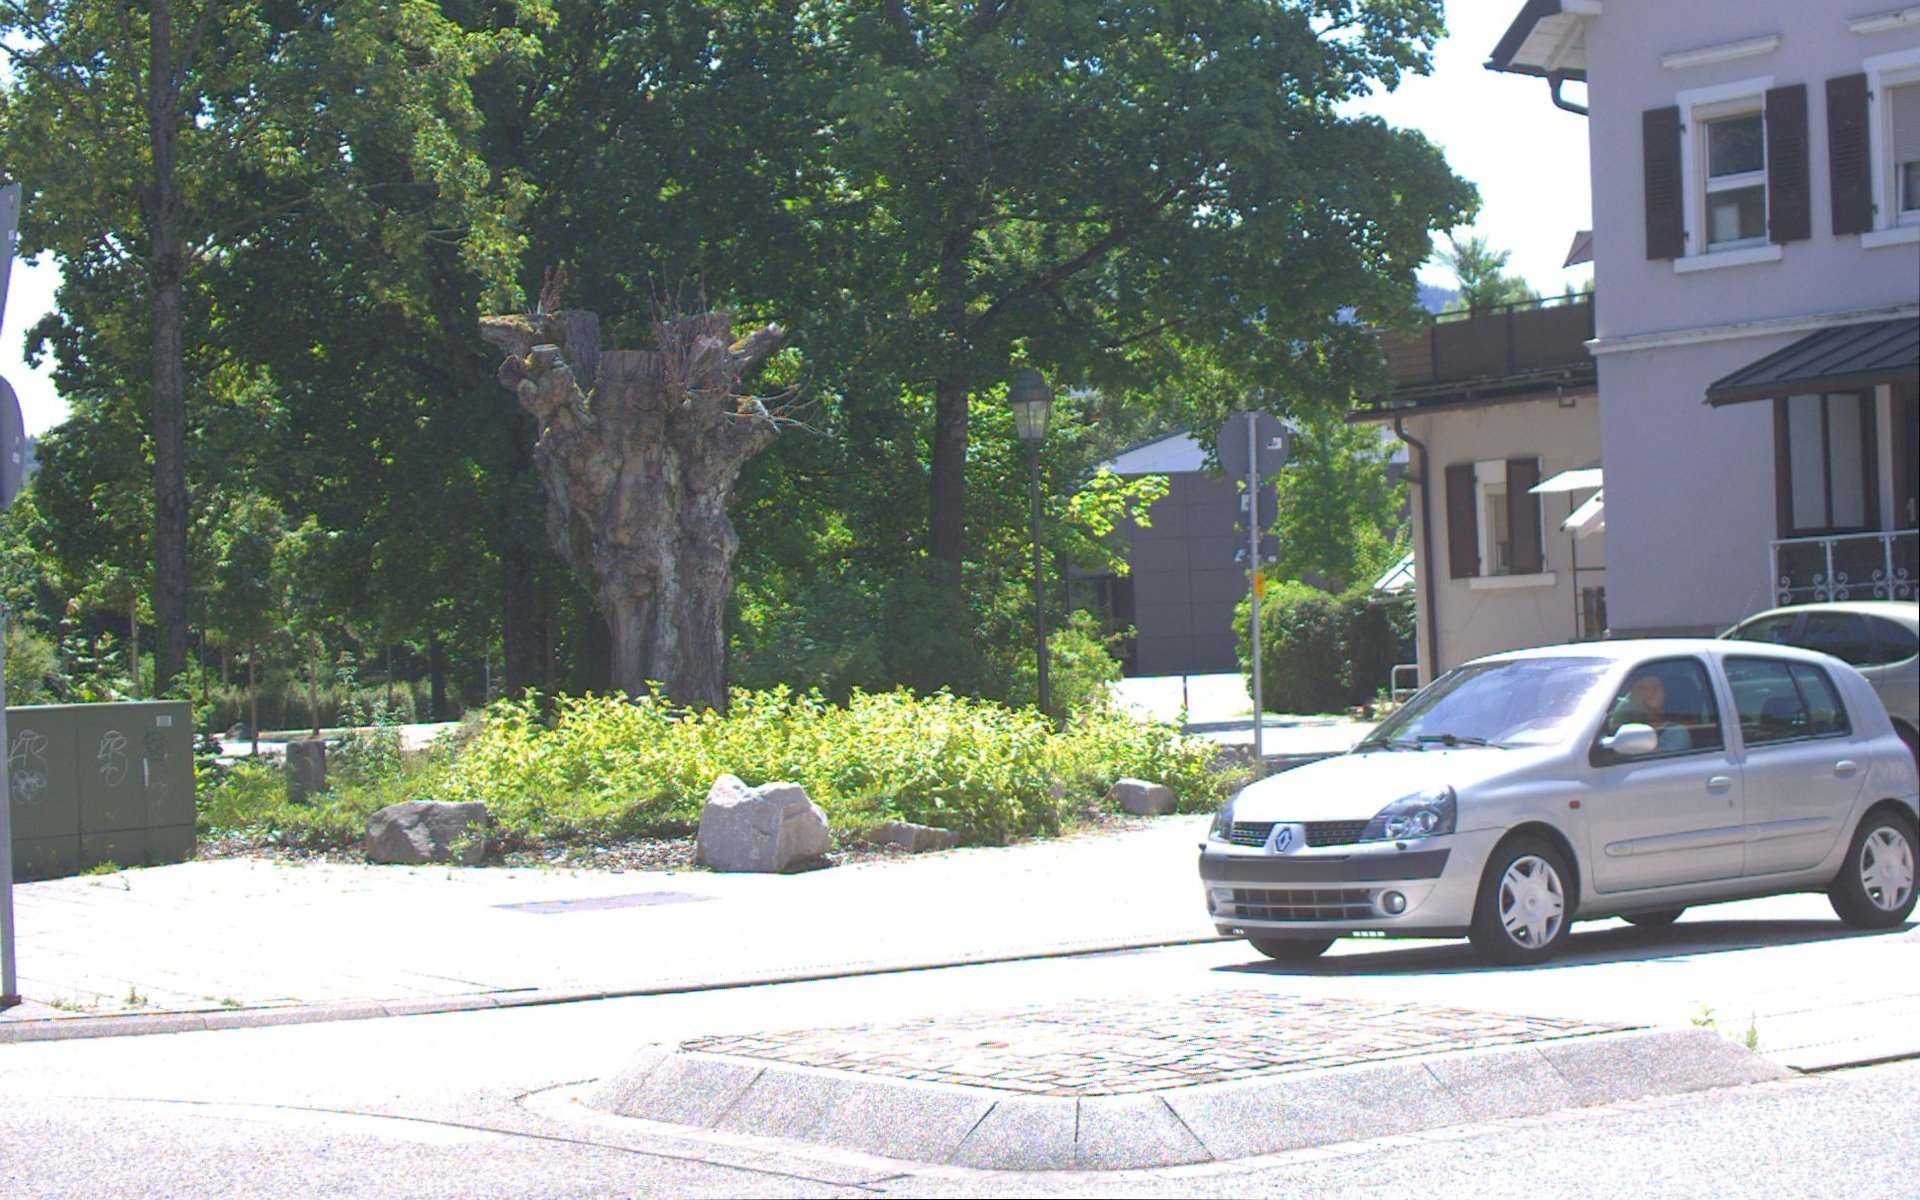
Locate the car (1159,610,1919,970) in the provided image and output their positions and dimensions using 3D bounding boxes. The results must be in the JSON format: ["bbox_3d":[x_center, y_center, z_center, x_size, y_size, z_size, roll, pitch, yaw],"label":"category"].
[{"bbox_3d":[2.856,0.830,15.957,3.707,1.408,1.549,-1,-3,-39],"label":"car"}]

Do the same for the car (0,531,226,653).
[{"bbox_3d":[-15.230,-0.137,61.475,3.986,2.007,2.000,-2,0,-14],"label":"car"}]

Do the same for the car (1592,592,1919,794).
[{"bbox_3d":[7.585,0.775,29.694,1.752,1.634,3.999,-2,0,-37],"label":"car"}]
